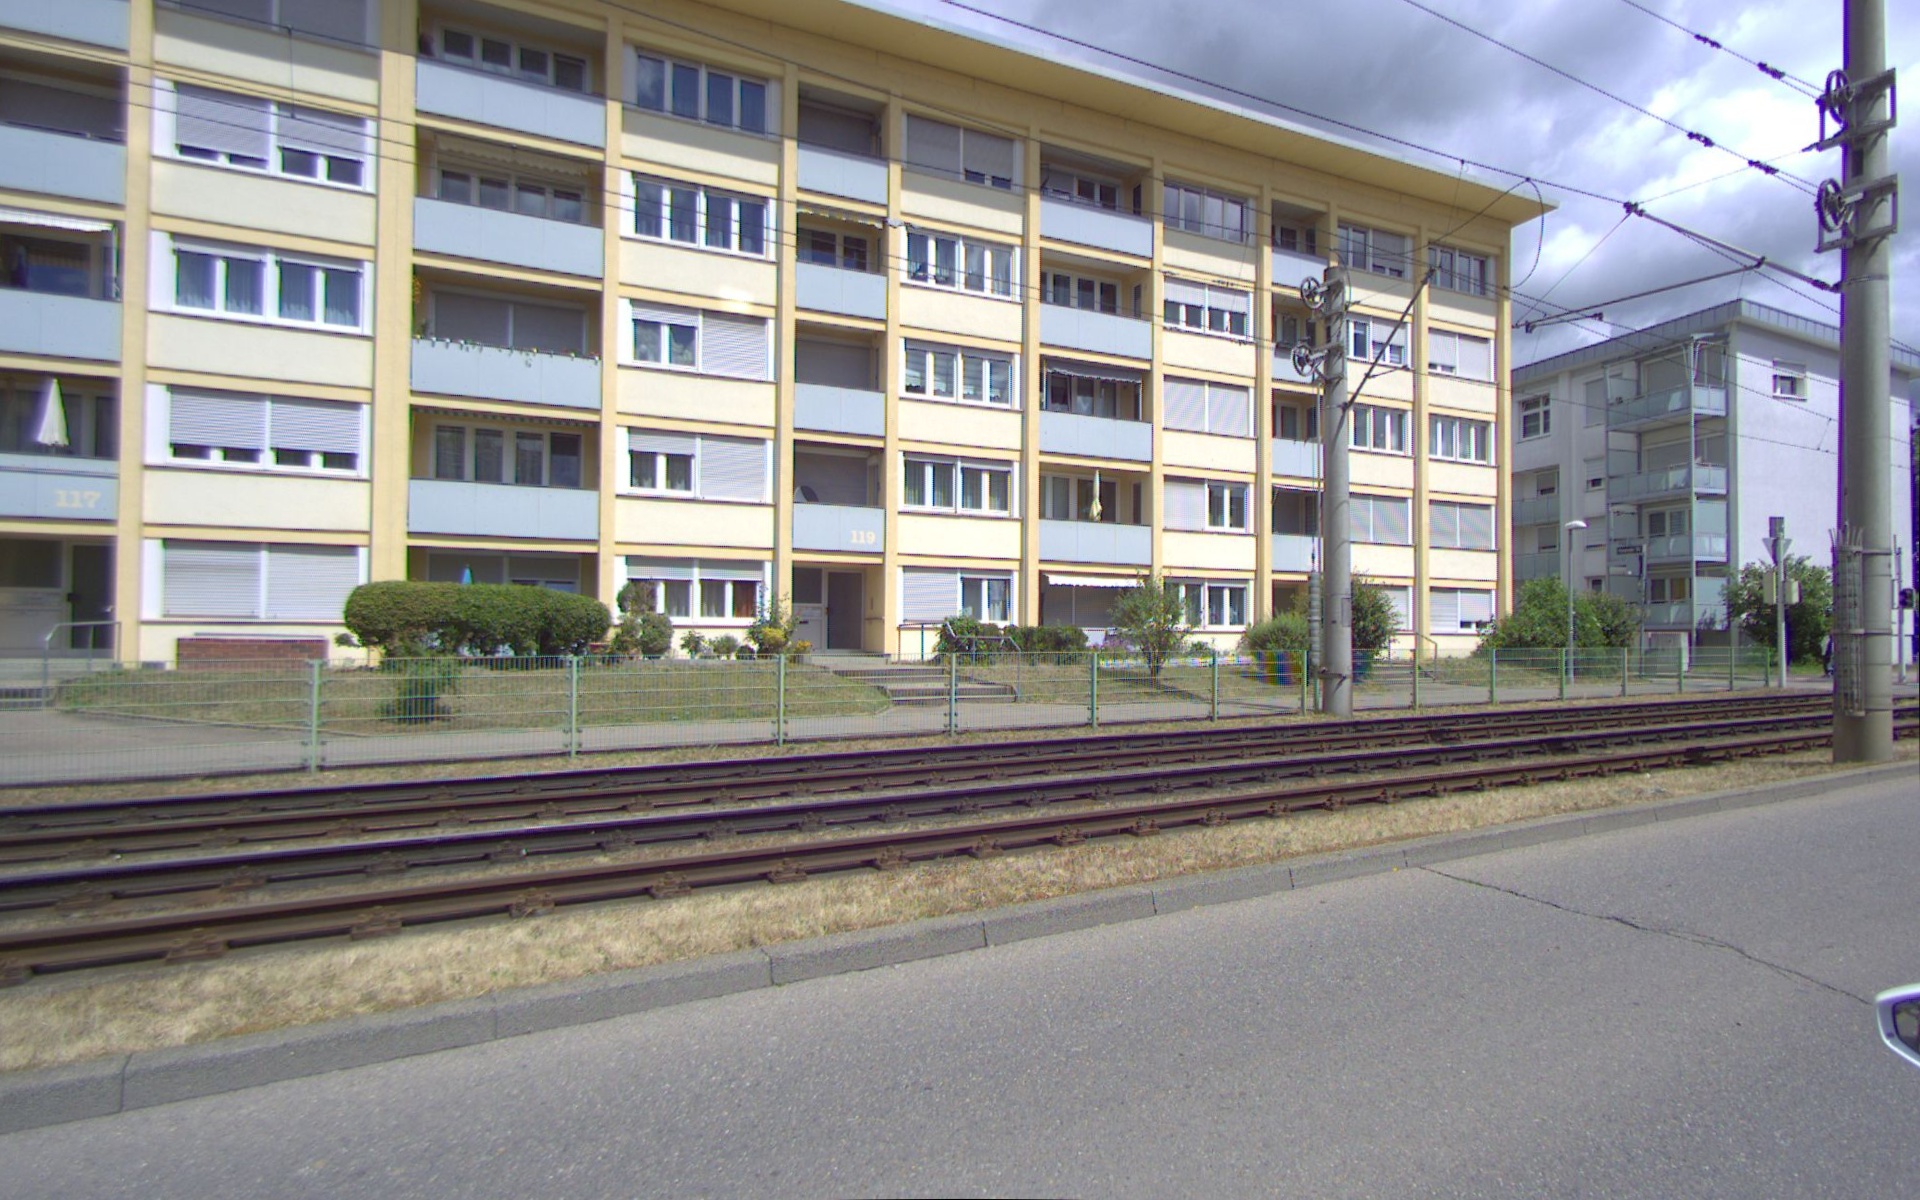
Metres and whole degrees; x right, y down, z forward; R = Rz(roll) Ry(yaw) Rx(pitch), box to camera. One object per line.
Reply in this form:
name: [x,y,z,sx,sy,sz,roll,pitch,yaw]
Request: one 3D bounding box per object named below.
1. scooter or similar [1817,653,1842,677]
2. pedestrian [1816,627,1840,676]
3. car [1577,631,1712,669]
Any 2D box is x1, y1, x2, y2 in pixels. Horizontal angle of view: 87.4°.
scooter or similar: [28.119,2.100,32.485,0.468,0.757,0.436,1,-1,-25]
pedestrian: [28.433,1.680,32.902,0.468,1.601,0.436,1,-1,-25]
car: [26.336,1.888,38.783,1.873,1.363,3.980,1,-2,-21]
